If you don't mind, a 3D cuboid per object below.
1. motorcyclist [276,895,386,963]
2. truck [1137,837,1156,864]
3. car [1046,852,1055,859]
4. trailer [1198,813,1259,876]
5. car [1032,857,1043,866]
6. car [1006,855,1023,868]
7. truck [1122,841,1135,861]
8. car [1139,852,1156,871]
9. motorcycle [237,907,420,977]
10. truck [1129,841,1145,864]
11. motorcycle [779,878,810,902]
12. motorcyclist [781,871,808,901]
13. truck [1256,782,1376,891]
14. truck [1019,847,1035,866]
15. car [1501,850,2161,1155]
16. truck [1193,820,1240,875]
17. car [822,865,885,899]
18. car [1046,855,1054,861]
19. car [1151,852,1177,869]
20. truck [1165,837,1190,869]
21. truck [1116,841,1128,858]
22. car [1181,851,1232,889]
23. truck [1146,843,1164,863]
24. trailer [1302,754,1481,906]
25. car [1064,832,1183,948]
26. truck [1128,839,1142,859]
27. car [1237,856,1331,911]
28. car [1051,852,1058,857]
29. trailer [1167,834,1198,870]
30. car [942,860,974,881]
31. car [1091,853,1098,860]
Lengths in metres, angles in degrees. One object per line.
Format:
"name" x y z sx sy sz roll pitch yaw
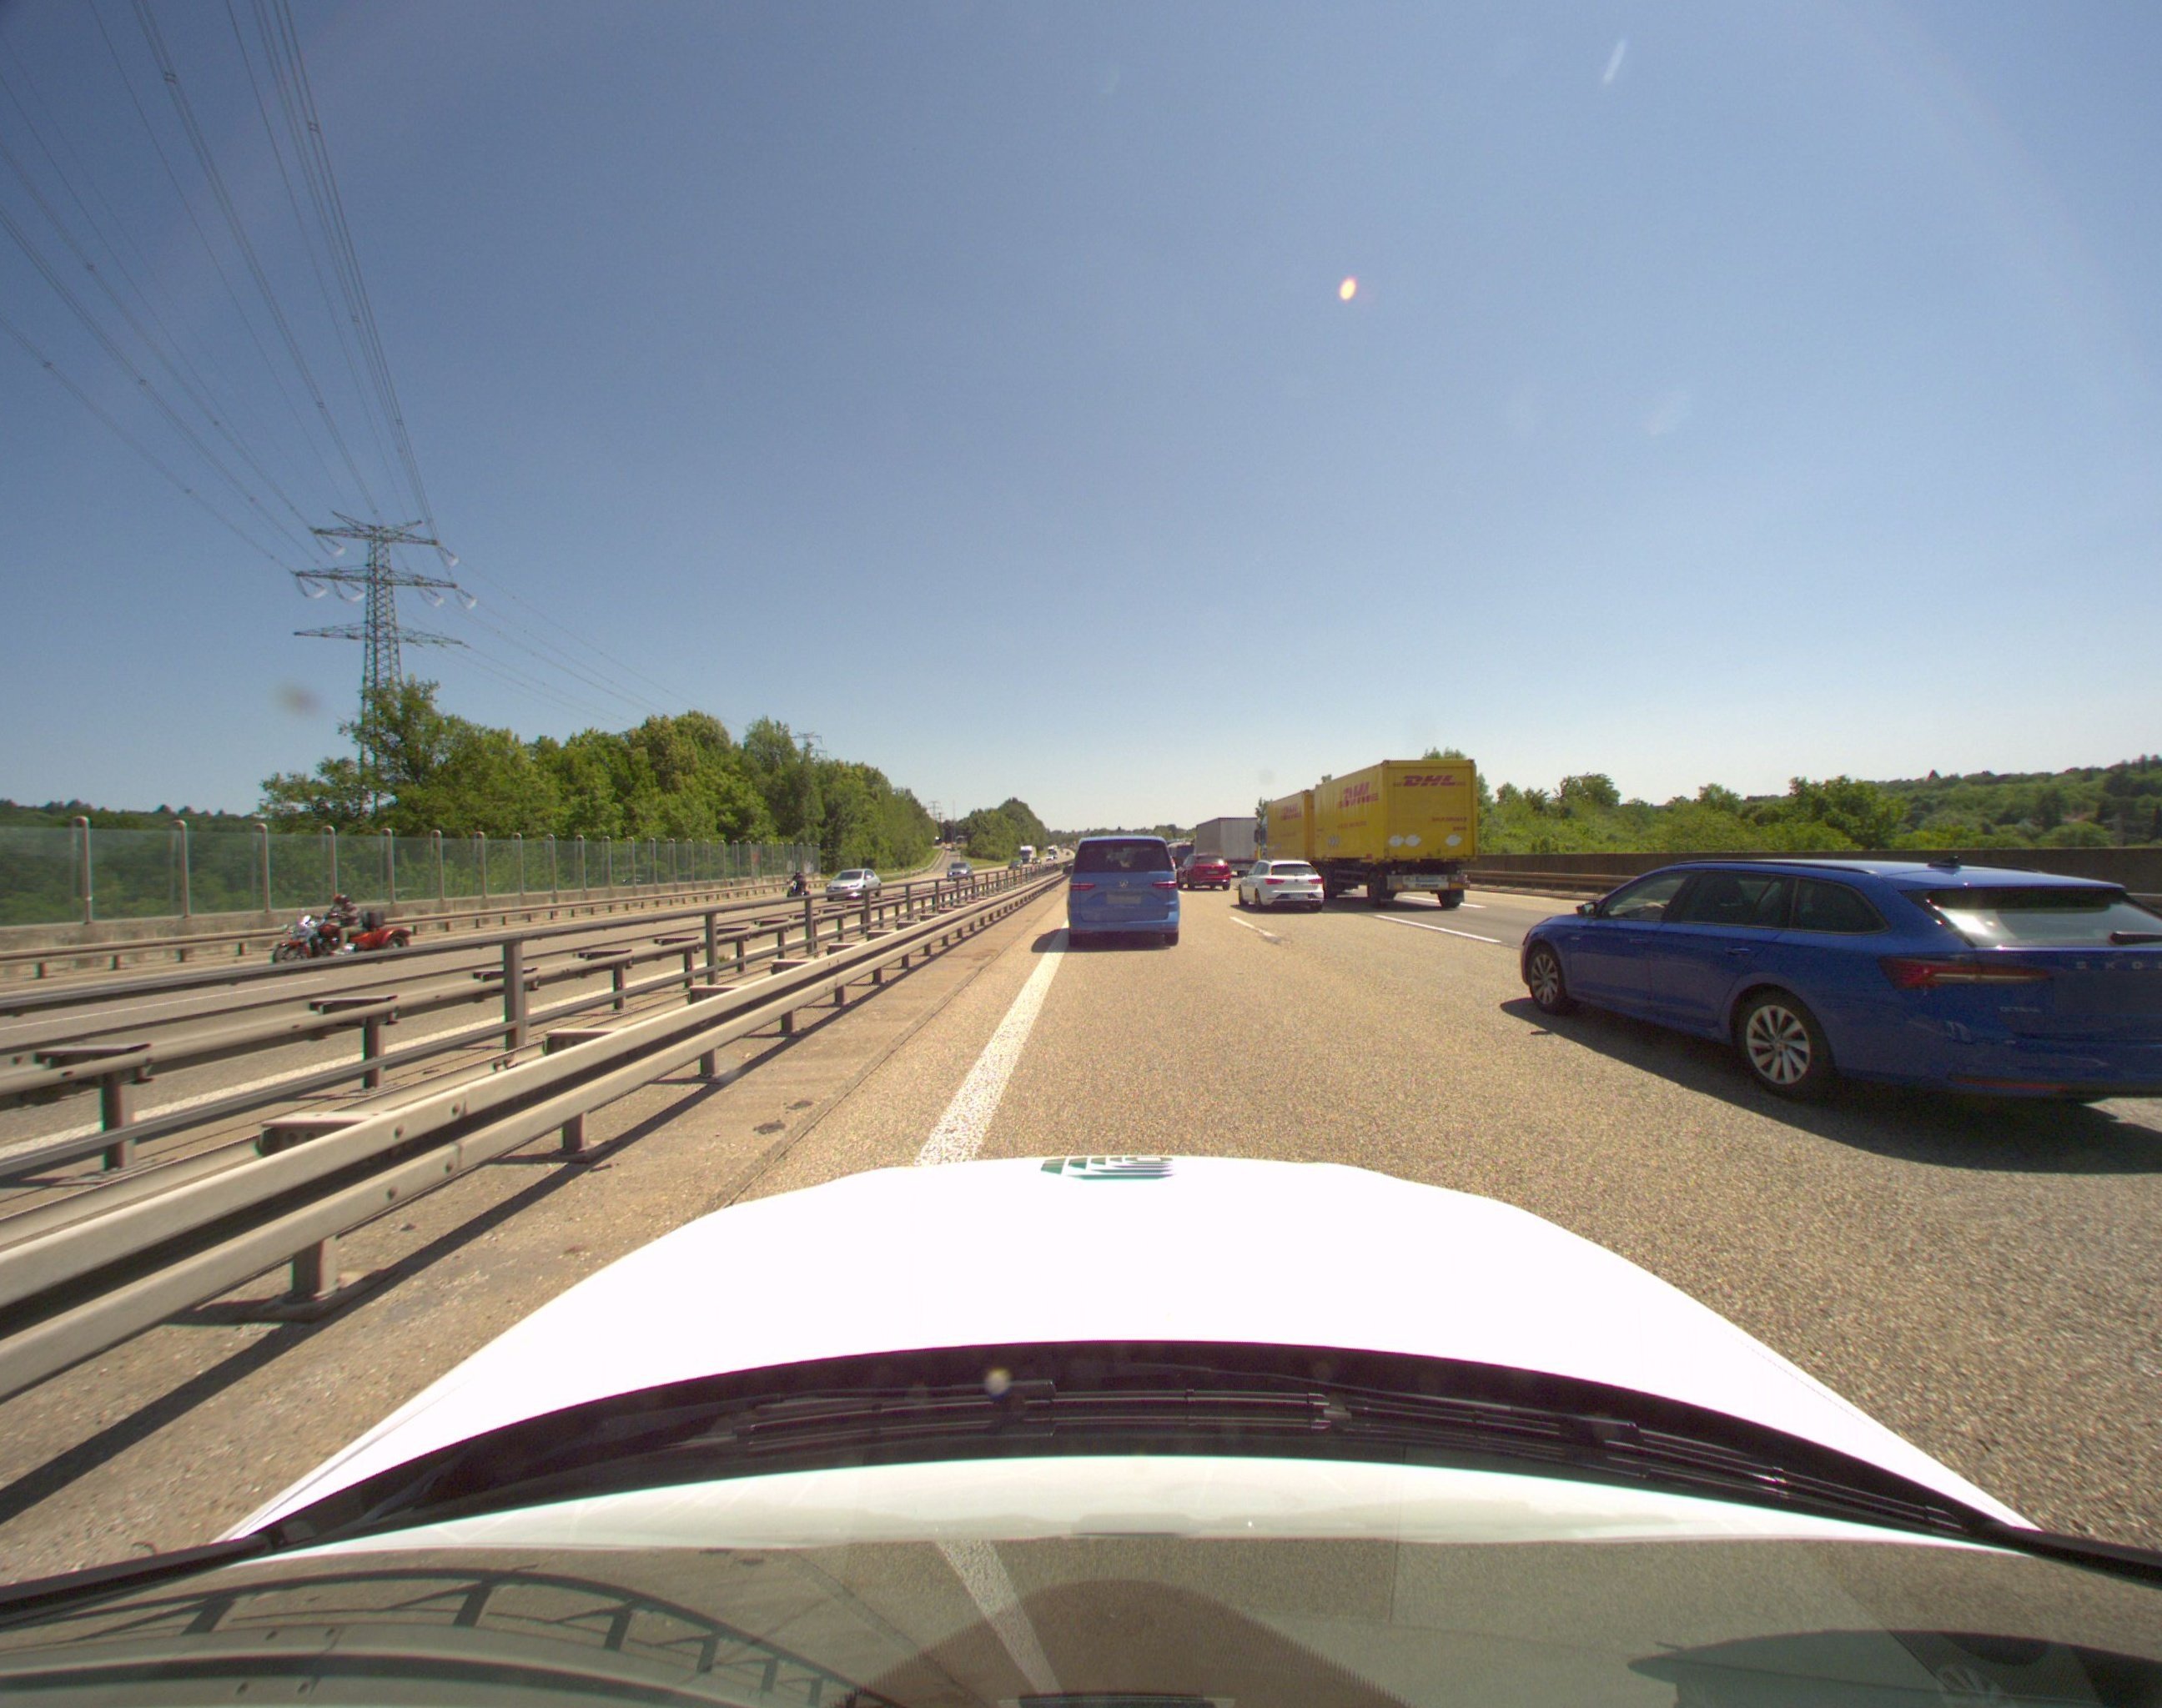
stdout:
"motorcyclist" -15.812 1.561 17.208 1.182 1.256 1.119 -4 0 1
"truck" 12.462 -0.541 155.974 2.824 5.040 11.145 0 -1 1
"car" -8.306 0.491 221.537 1.915 1.688 4.123 -4 0 1
"trailer" 10.446 -0.554 58.935 2.744 4.146 11.316 0 -1 2
"car" -8.726 1.532 164.209 1.823 1.609 4.170 -3 0 1
"car" -9.122 0.999 112.681 1.823 1.609 4.170 -4 0 1
"truck" 12.673 -0.760 219.701 2.824 5.373 12.554 0 -1 1
"car" 7.015 0.815 86.137 1.577 2.014 3.495 0 -1 2
"motorcycle" -15.783 1.810 17.245 1.361 1.099 2.577 -4 0 2
"truck" 12.313 -0.248 181.115 2.824 5.040 11.816 0 -1 1
"motorcycle" -14.999 1.860 42.644 0.699 1.070 2.306 -3 1 2
"motorcyclist" -14.968 1.664 42.562 0.894 1.441 1.083 -2 1 1
"truck" 9.935 -0.600 35.824 2.711 4.055 10.342 0 -1 3
"truck" -12.460 0.632 188.329 2.978 4.279 7.191 -3 0 1
"car" 5.116 0.716 6.145 1.703 1.440 4.502 -1 0 2
"truck" 10.617 -0.479 64.360 2.758 4.095 6.986 0 -1 2
"car" -11.140 1.322 40.128 1.709 1.434 4.177 -4 0 2
"car" -8.370 1.115 221.345 1.915 1.688 4.123 -4 0 1
"car" 7.101 0.530 70.140 1.832 1.414 4.000 -1 0 0
"truck" 11.512 -0.100 97.459 2.359 3.722 6.035 0 -1 1
"truck" 12.246 -1.248 244.305 2.824 5.040 12.912 0 -1 1
"car" 5.633 0.685 36.961 1.844 1.608 4.002 -1 0 2
"truck" 12.389 -0.189 136.749 2.347 3.218 9.740 0 -1 1
"trailer" 9.485 -0.595 26.173 2.690 4.023 8.936 0 -1 3
"car" 0.762 0.581 15.074 1.875 1.837 4.002 -1 0 2
"truck" 13.295 -1.170 201.566 2.824 4.886 13.219 0 -1 1
"car" 5.662 0.782 23.209 1.774 1.387 4.190 -1 0 2
"car" -8.389 0.135 260.541 1.915 1.688 4.123 -4 0 1
"trailer" 11.344 -0.143 91.510 2.371 3.744 11.191 0 -1 2
"car" -10.303 1.356 68.682 1.823 1.609 4.170 -5 0 1
"car" 3.685 0.622 217.618 1.733 1.910 3.682 0 -1 2
